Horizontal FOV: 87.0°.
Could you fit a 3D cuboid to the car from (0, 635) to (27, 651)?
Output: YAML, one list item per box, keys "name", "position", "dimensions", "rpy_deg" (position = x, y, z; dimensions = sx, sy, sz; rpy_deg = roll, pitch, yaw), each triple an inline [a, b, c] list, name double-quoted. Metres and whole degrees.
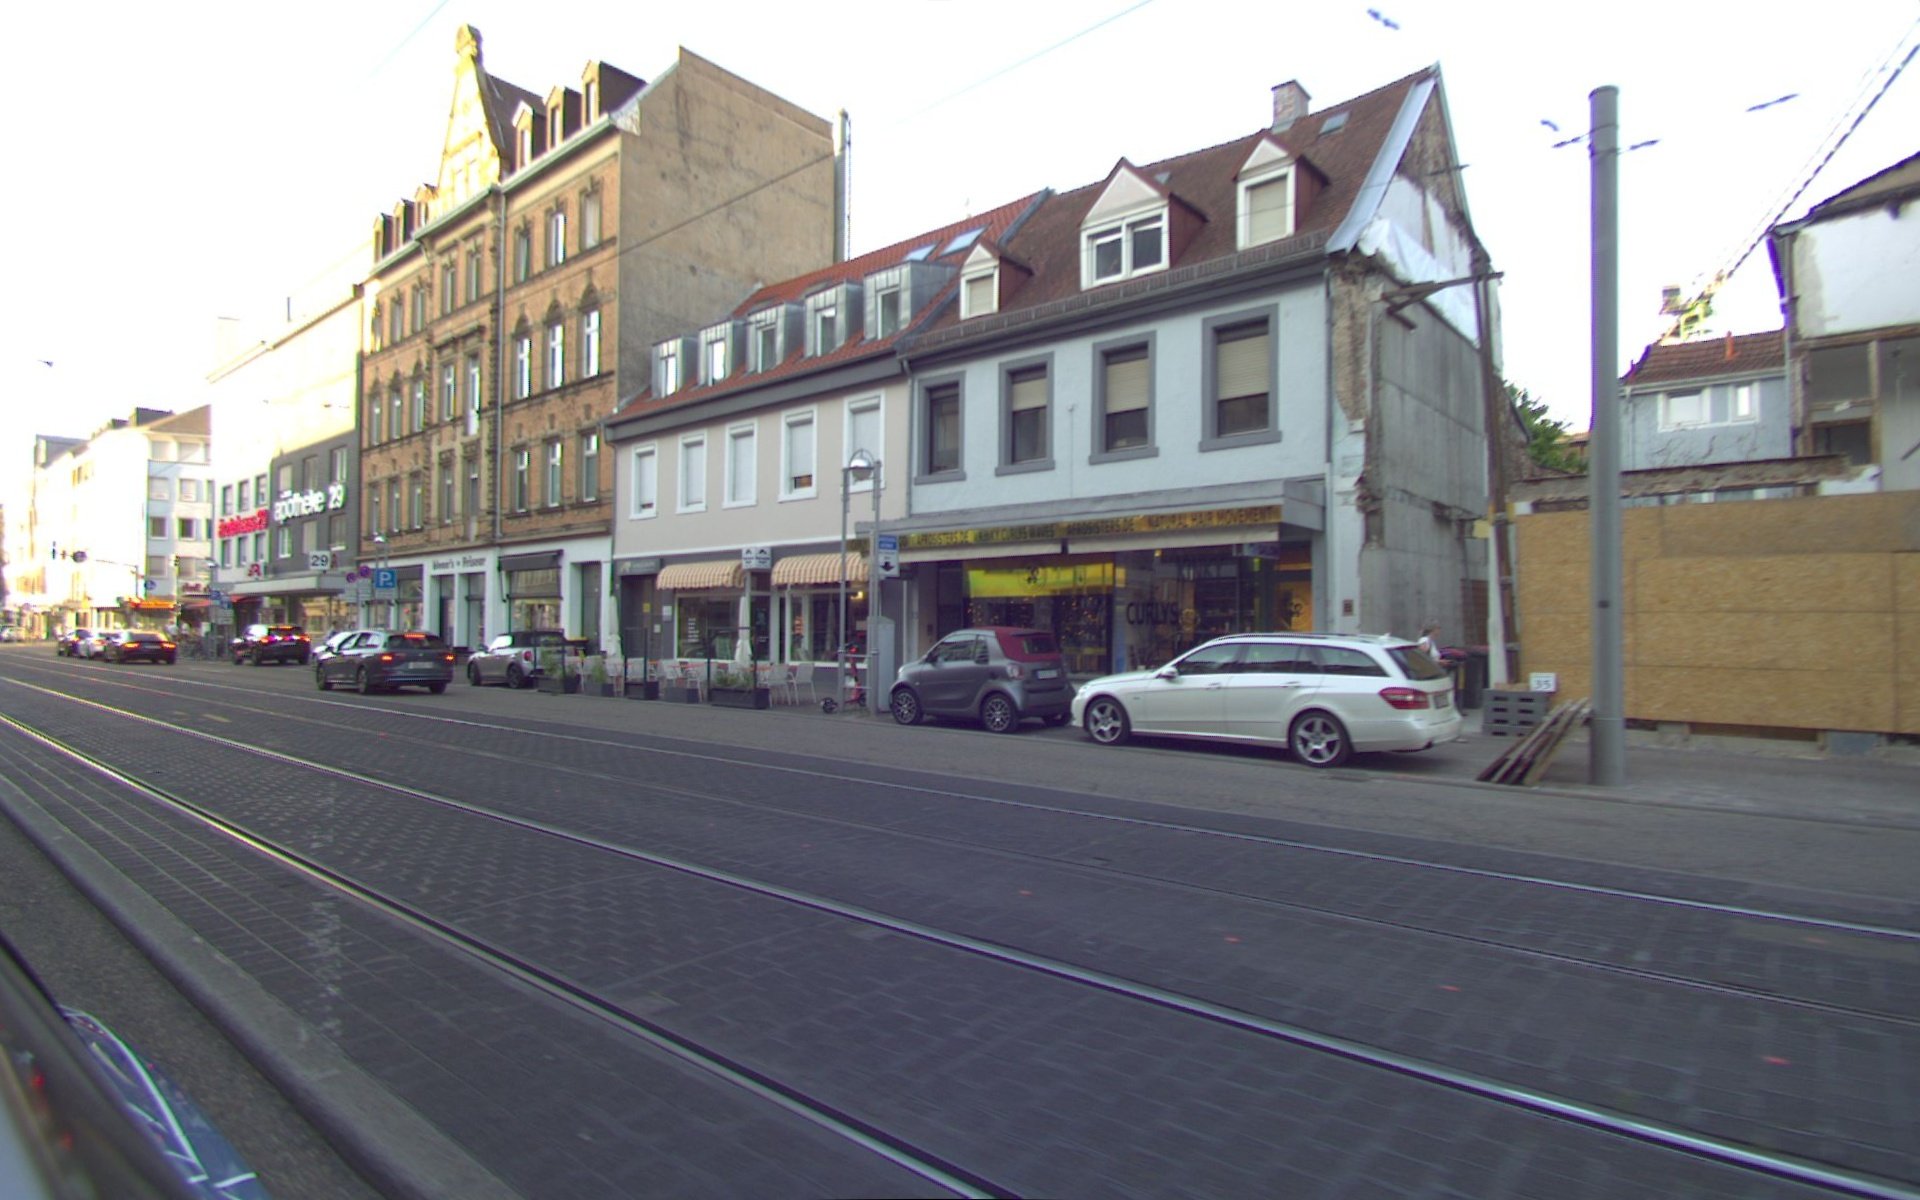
- name: "car"
  position: [-83.355, 3.782, 88.915]
  dimensions: [3.387, 1.263, 1.615]
  rpy_deg: [-3, 0, 41]

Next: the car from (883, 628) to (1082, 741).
- name: "car"
  position: [0.324, 1.233, 15.671]
  dimensions: [2.792, 1.589, 1.462]
  rpy_deg: [-1, -3, 39]

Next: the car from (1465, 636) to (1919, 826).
- name: "car"
  position: [7.421, 1.100, 9.613]
  dimensions: [4.329, 1.464, 1.972]
  rpy_deg: [-2, -2, 42]

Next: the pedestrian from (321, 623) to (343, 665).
- name: "pedestrian"
  position: [-26.226, 1.826, 42.283]
  dimensions: [0.602, 1.712, 0.614]
  rpy_deg: [-2, -2, 41]

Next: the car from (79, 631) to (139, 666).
- name: "car"
  position: [-39.243, 2.223, 46.628]
  dimensions: [1.969, 1.464, 4.662]
  rpy_deg: [4, -4, -41]

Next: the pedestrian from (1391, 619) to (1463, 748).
- name: "pedestrian"
  position: [6.239, 1.081, 13.519]
  dimensions: [0.694, 1.656, 0.655]
  rpy_deg: [-2, -2, 41]

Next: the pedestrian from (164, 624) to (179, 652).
- name: "pedestrian"
  position: [-51.133, 2.463, 65.592]
  dimensions: [0.668, 1.758, 0.630]
  rpy_deg: [-2, -2, 40]

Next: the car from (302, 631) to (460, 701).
- name: "car"
  position: [-13.480, 1.492, 23.468]
  dimensions: [4.461, 1.464, 1.675]
  rpy_deg: [-2, -4, 40]

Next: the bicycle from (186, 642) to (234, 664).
- name: "bicycle"
  position: [-35.569, 2.523, 48.013]
  dimensions: [0.455, 0.919, 1.786]
  rpy_deg: [-4, -1, 41]

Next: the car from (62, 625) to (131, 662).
- name: "car"
  position: [-43.152, 2.143, 50.533]
  dimensions: [4.727, 1.740, 1.972]
  rpy_deg: [-2, -4, 42]

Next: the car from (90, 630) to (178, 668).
- name: "car"
  position: [-33.929, 2.003, 41.531]
  dimensions: [4.645, 1.464, 1.973]
  rpy_deg: [-1, -3, 40]

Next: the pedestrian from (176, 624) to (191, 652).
- name: "pedestrian"
  position: [-50.741, 2.499, 66.159]
  dimensions: [0.600, 1.792, 0.630]
  rpy_deg: [-2, -2, 39]

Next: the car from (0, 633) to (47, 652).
- name: "car"
  position: [-69.622, 3.127, 74.329]
  dimensions: [1.593, 1.344, 3.452]
  rpy_deg: [-1, -2, 32]

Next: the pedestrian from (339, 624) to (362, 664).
- name: "pedestrian"
  position: [-25.707, 1.844, 42.696]
  dimensions: [0.624, 1.673, 0.675]
  rpy_deg: [-2, -2, 41]

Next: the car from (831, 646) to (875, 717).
- name: "car"
  position: [-1.922, 1.460, 18.305]
  dimensions: [0.339, 1.244, 0.775]
  rpy_deg: [-1, -3, 39]

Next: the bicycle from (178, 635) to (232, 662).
- name: "bicycle"
  position: [-37.900, 2.437, 50.831]
  dimensions: [0.553, 1.233, 2.090]
  rpy_deg: [-2, 0, 41]

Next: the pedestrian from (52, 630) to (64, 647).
- name: "pedestrian"
  position: [-81.449, 3.500, 91.373]
  dimensions: [0.621, 1.483, 0.539]
  rpy_deg: [-2, 0, 25]

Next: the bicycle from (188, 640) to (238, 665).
- name: "bicycle"
  position: [-35.087, 2.443, 47.566]
  dimensions: [0.489, 1.055, 1.812]
  rpy_deg: [-4, -1, 41]

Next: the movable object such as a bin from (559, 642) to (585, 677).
- name: "movable object such as a bin"
  position: [-11.989, 1.824, 31.273]
  dimensions: [0.694, 1.041, 0.490]
  rpy_deg: [-2, -1, 41]

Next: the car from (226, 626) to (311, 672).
- name: "car"
  position: [-27.810, 1.921, 40.634]
  dimensions: [4.646, 1.687, 1.909]
  rpy_deg: [-2, -1, 43]

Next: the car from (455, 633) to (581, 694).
- name: "car"
  position: [-11.568, 1.646, 26.383]
  dimensions: [3.811, 1.451, 1.581]
  rpy_deg: [-4, -3, 42]

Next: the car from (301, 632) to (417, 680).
- name: "car"
  position: [-20.695, 1.858, 34.785]
  dimensions: [4.603, 1.464, 1.851]
  rpy_deg: [-1, 0, 38]

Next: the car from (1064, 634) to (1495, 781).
- name: "car"
  position: [3.840, 1.187, 12.775]
  dimensions: [4.821, 1.464, 1.972]
  rpy_deg: [-2, -2, 42]
